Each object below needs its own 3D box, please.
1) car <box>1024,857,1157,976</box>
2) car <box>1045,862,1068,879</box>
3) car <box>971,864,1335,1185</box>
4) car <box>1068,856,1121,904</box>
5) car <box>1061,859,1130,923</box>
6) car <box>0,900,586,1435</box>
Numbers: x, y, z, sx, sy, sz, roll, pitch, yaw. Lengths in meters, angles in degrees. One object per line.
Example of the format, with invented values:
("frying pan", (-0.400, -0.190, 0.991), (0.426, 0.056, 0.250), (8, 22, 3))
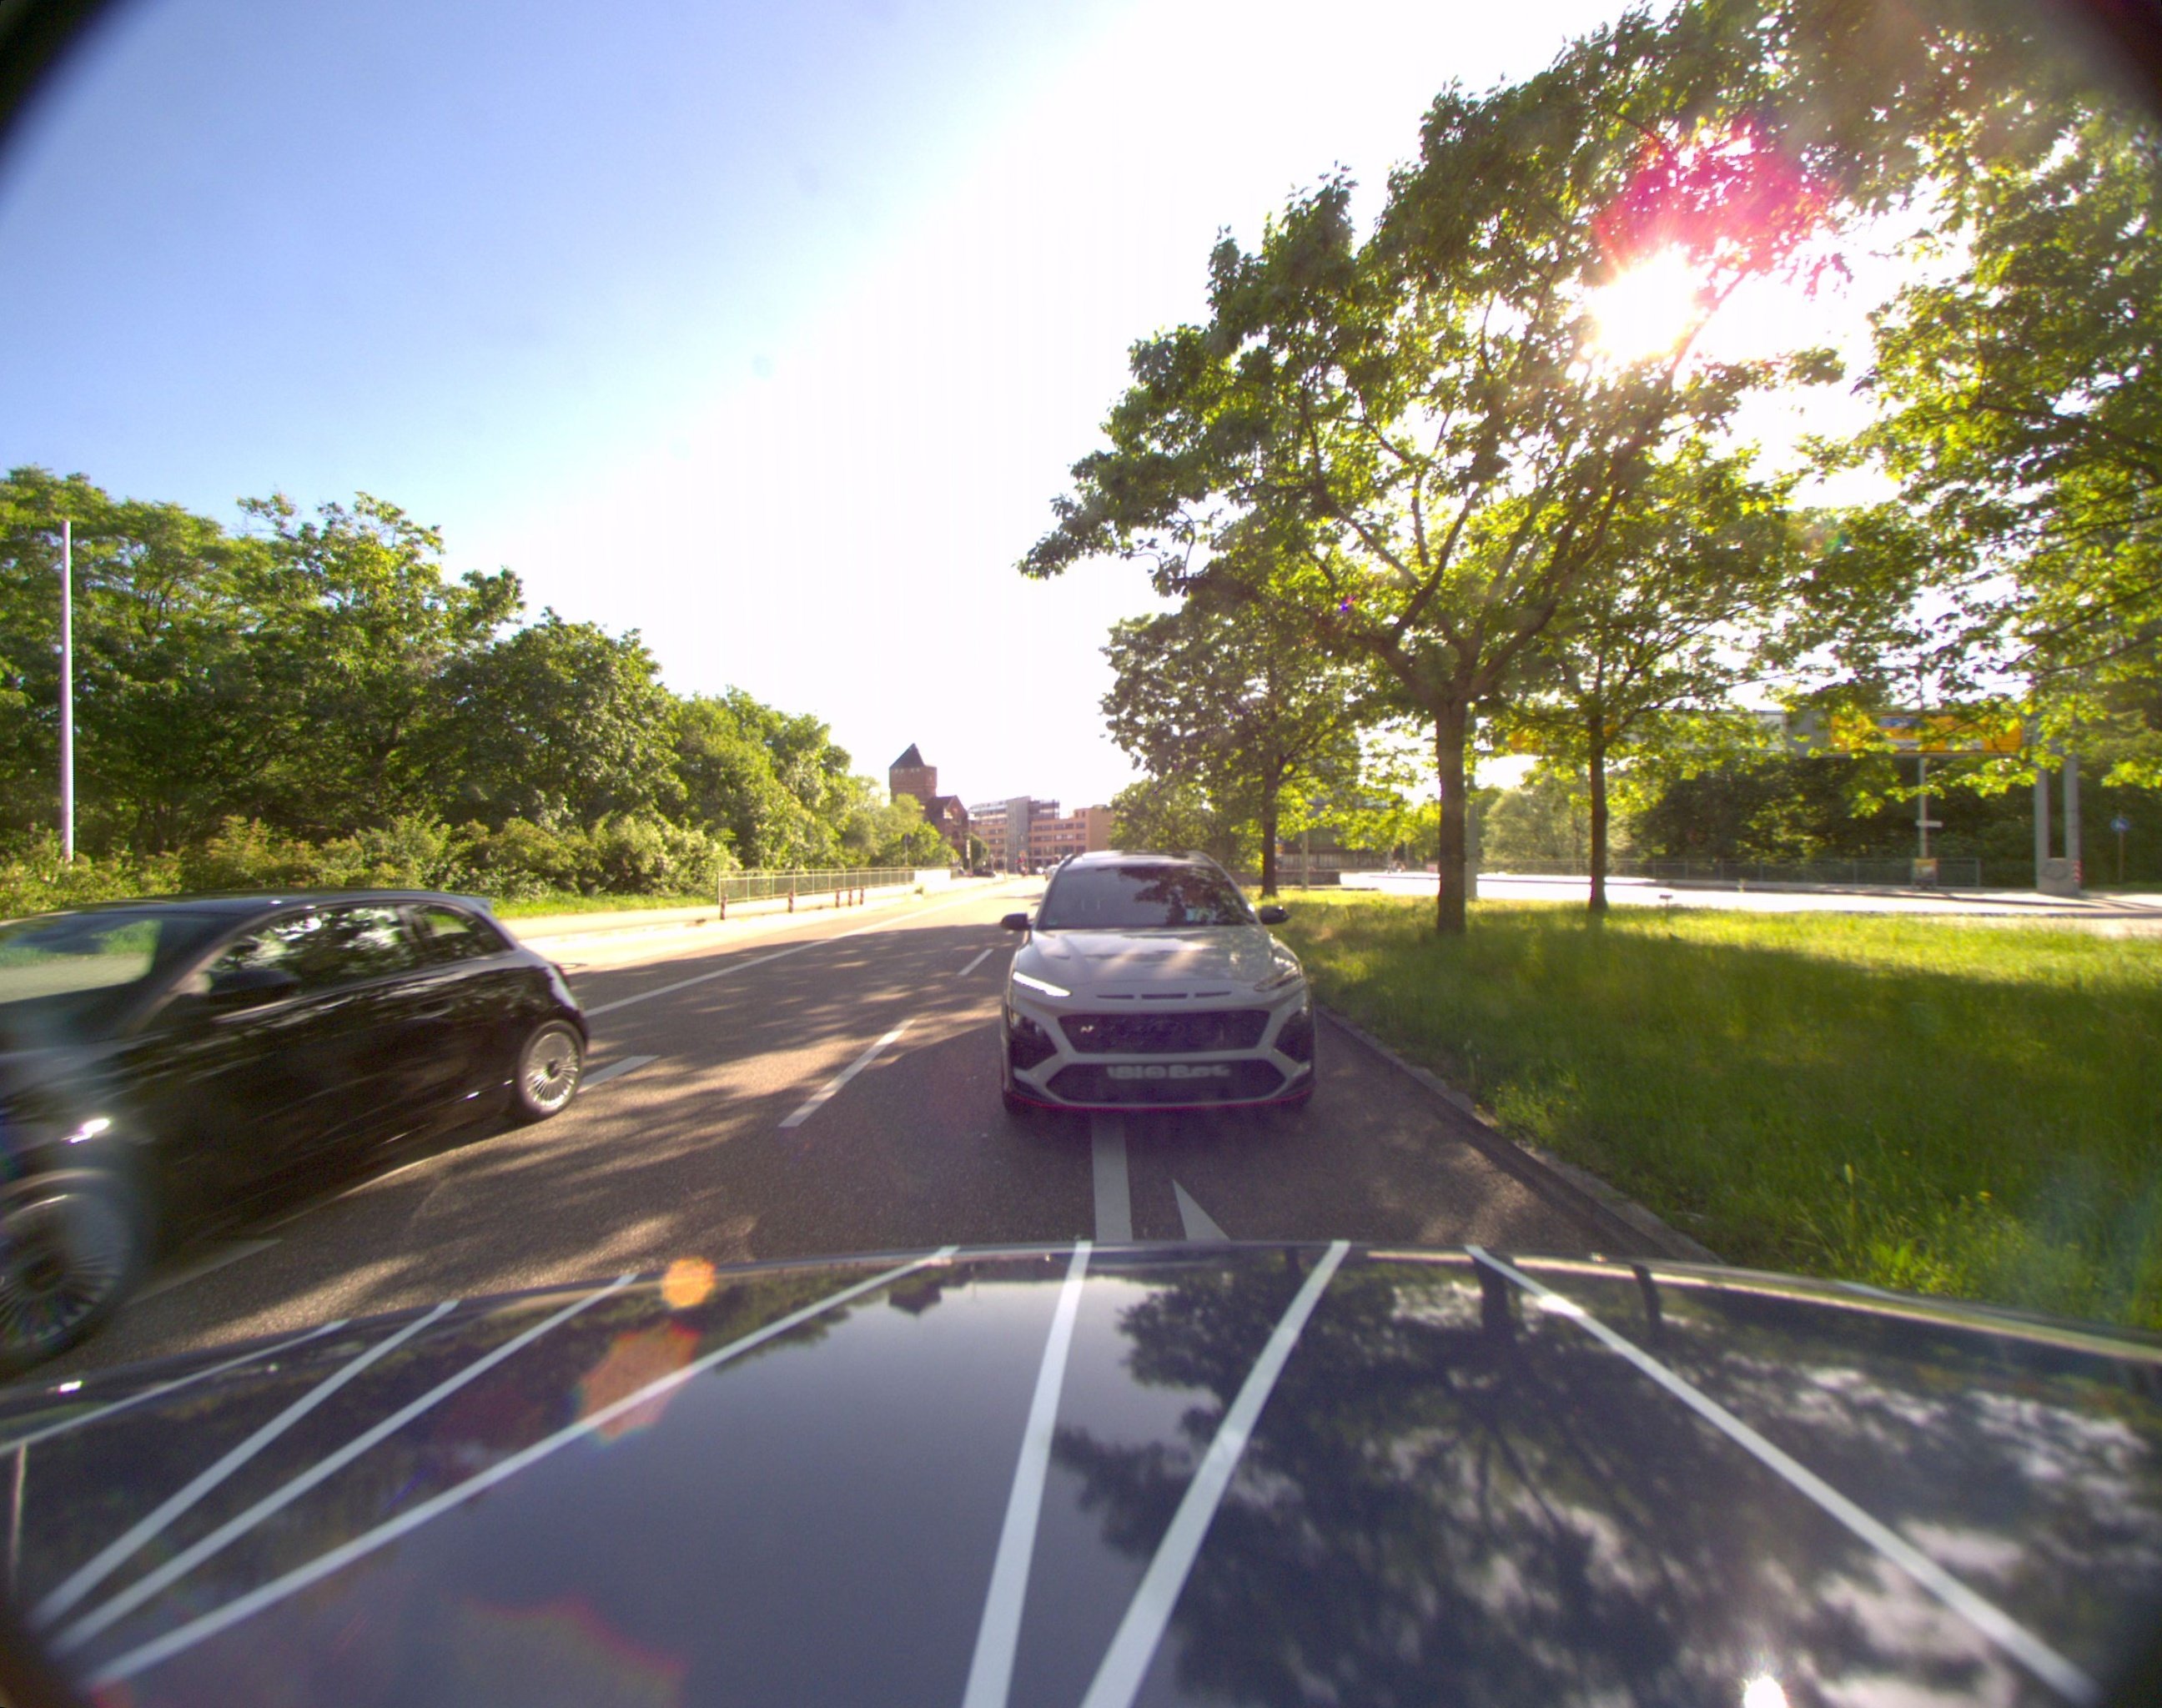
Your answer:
("car", (0.330, 0.906, 12.779), (1.744, 1.539, 4.002), (-5, -1, 6))
("car", (-2.454, 1.637, 76.262), (1.999, 1.595, 4.209), (-1, 0, -6))
("car", (0.418, 0.876, 5.755), (1.780, 1.542, 3.980), (-1, 0, 2))
("car", (0.532, 0.922, 28.815), (1.833, 1.637, 4.000), (-1, 0, 1))
("car", (0.442, 0.948, 21.124), (1.678, 1.499, 3.949), (-2, 1, 2))
("car", (-4.182, 1.062, 3.311), (1.678, 1.494, 3.562), (-1, 0, 0))
